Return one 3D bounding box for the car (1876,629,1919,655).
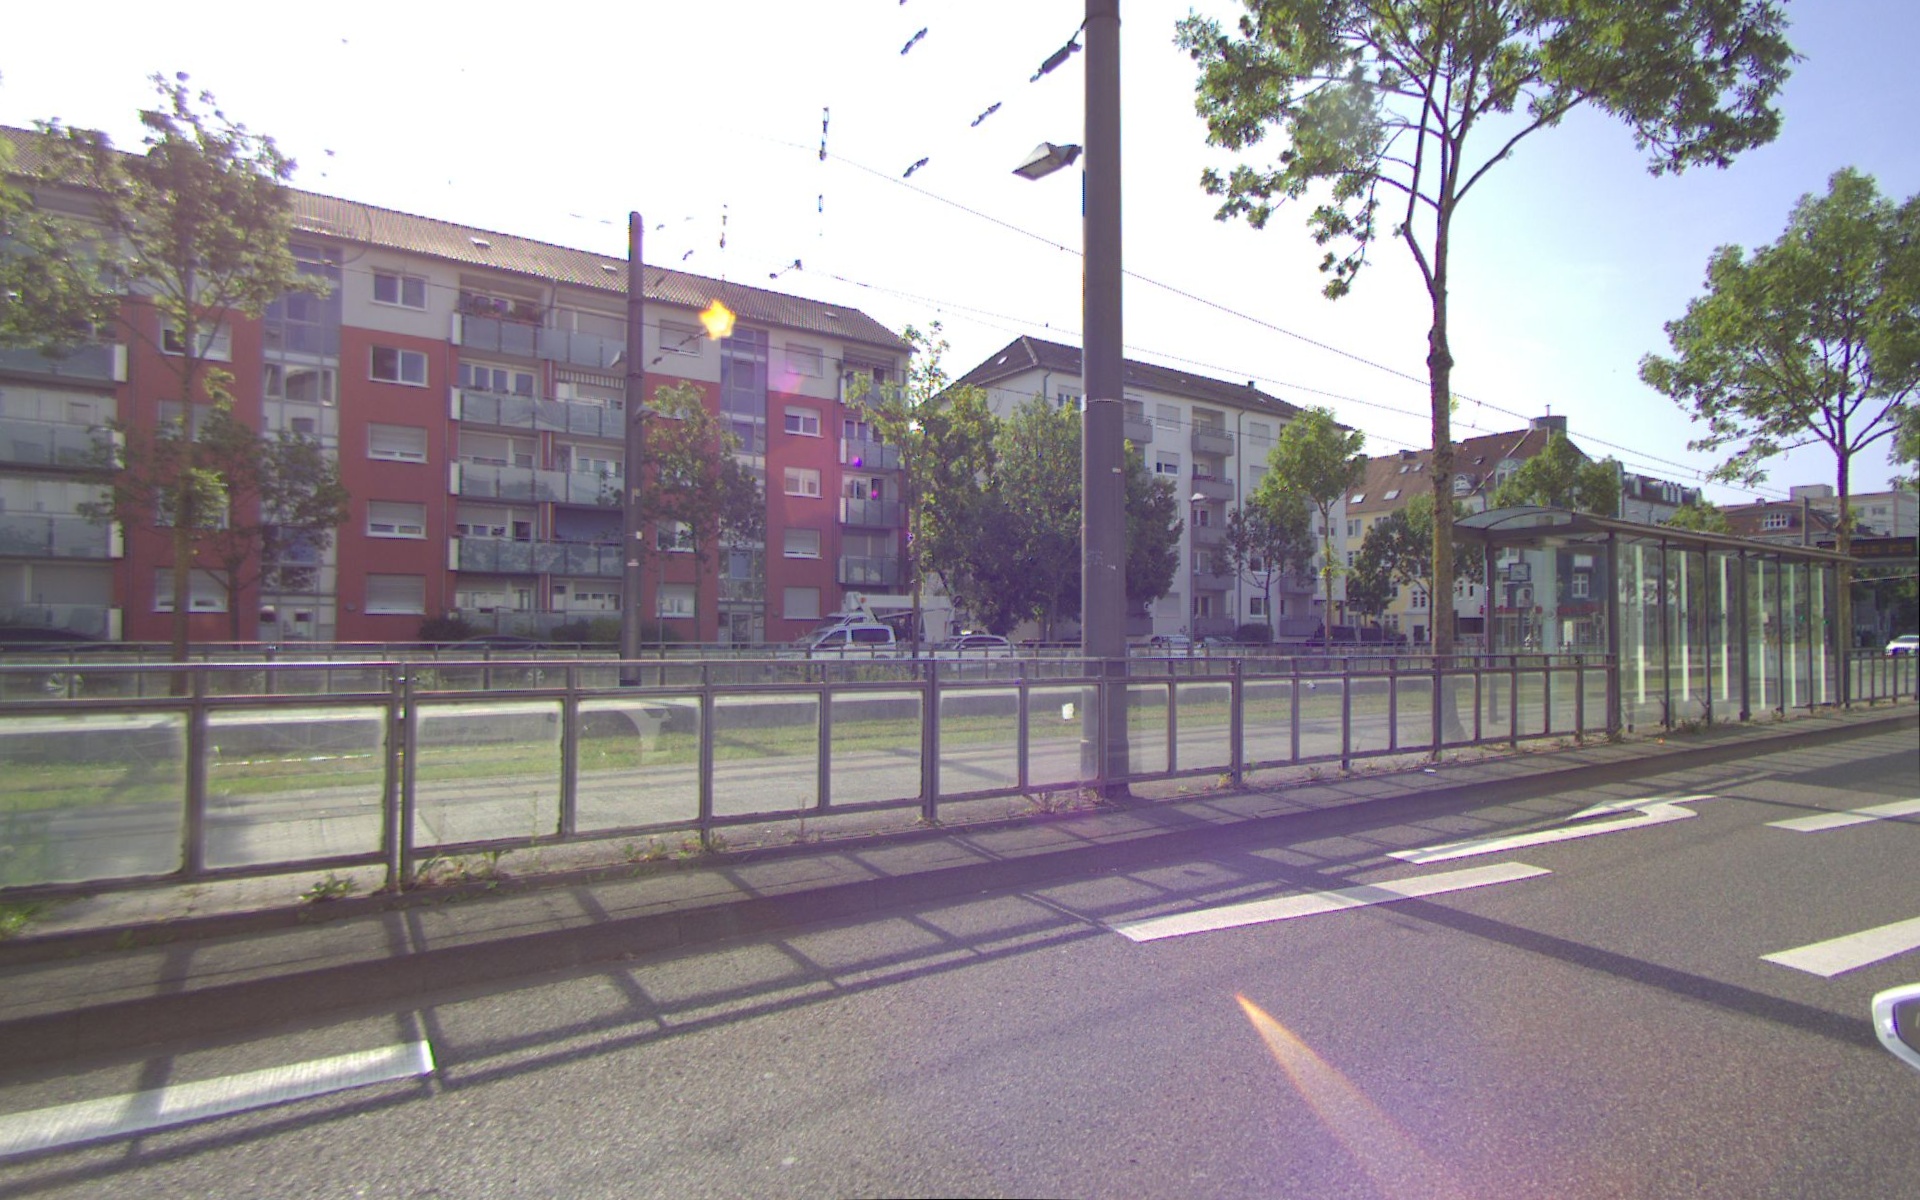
[{"bbox_3d":[62.888,2.801,66.688,4.004,1.617,1.983,2,-1,-31],"label":"car"}]

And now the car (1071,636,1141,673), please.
[{"bbox_3d":[5.421,2.005,37.745,1.797,1.260,3.998,1,-2,-4],"label":"car"}]

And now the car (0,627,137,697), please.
[{"bbox_3d":[-20.300,1.305,21.450,4.030,1.378,1.967,2,-1,-36],"label":"car"}]

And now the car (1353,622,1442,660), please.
[{"bbox_3d":[25.383,2.392,58.249,5.260,2.057,2.350,2,-1,-36],"label":"car"}]

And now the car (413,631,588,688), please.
[{"bbox_3d":[-12.479,1.572,27.335,4.030,1.378,1.967,2,-1,-36],"label":"car"}]

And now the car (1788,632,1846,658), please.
[{"bbox_3d":[57.699,3.039,67.603,3.959,1.617,1.981,2,-1,-34],"label":"car"}]

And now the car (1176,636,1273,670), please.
[{"bbox_3d":[10.580,2.088,40.487,1.909,1.260,3.984,1,-2,-19],"label":"car"}]

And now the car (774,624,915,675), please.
[{"bbox_3d":[-3.796,1.618,33.409,4.239,1.533,1.967,2,-1,-36],"label":"car"}]

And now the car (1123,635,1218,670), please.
[{"bbox_3d":[8.212,2.046,39.543,1.909,1.260,3.984,1,-2,-19],"label":"car"}]

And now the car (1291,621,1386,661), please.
[{"bbox_3d":[20.634,2.230,54.688,5.260,2.057,2.350,2,-1,-36],"label":"car"}]

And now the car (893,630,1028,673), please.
[{"bbox_3d":[0.056,1.820,36.250,4.638,1.397,1.967,2,-1,-36],"label":"car"}]

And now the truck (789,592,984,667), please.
[{"bbox_3d":[-2.669,1.110,37.929,7.171,2.597,2.350,2,-1,-36],"label":"truck"}]
